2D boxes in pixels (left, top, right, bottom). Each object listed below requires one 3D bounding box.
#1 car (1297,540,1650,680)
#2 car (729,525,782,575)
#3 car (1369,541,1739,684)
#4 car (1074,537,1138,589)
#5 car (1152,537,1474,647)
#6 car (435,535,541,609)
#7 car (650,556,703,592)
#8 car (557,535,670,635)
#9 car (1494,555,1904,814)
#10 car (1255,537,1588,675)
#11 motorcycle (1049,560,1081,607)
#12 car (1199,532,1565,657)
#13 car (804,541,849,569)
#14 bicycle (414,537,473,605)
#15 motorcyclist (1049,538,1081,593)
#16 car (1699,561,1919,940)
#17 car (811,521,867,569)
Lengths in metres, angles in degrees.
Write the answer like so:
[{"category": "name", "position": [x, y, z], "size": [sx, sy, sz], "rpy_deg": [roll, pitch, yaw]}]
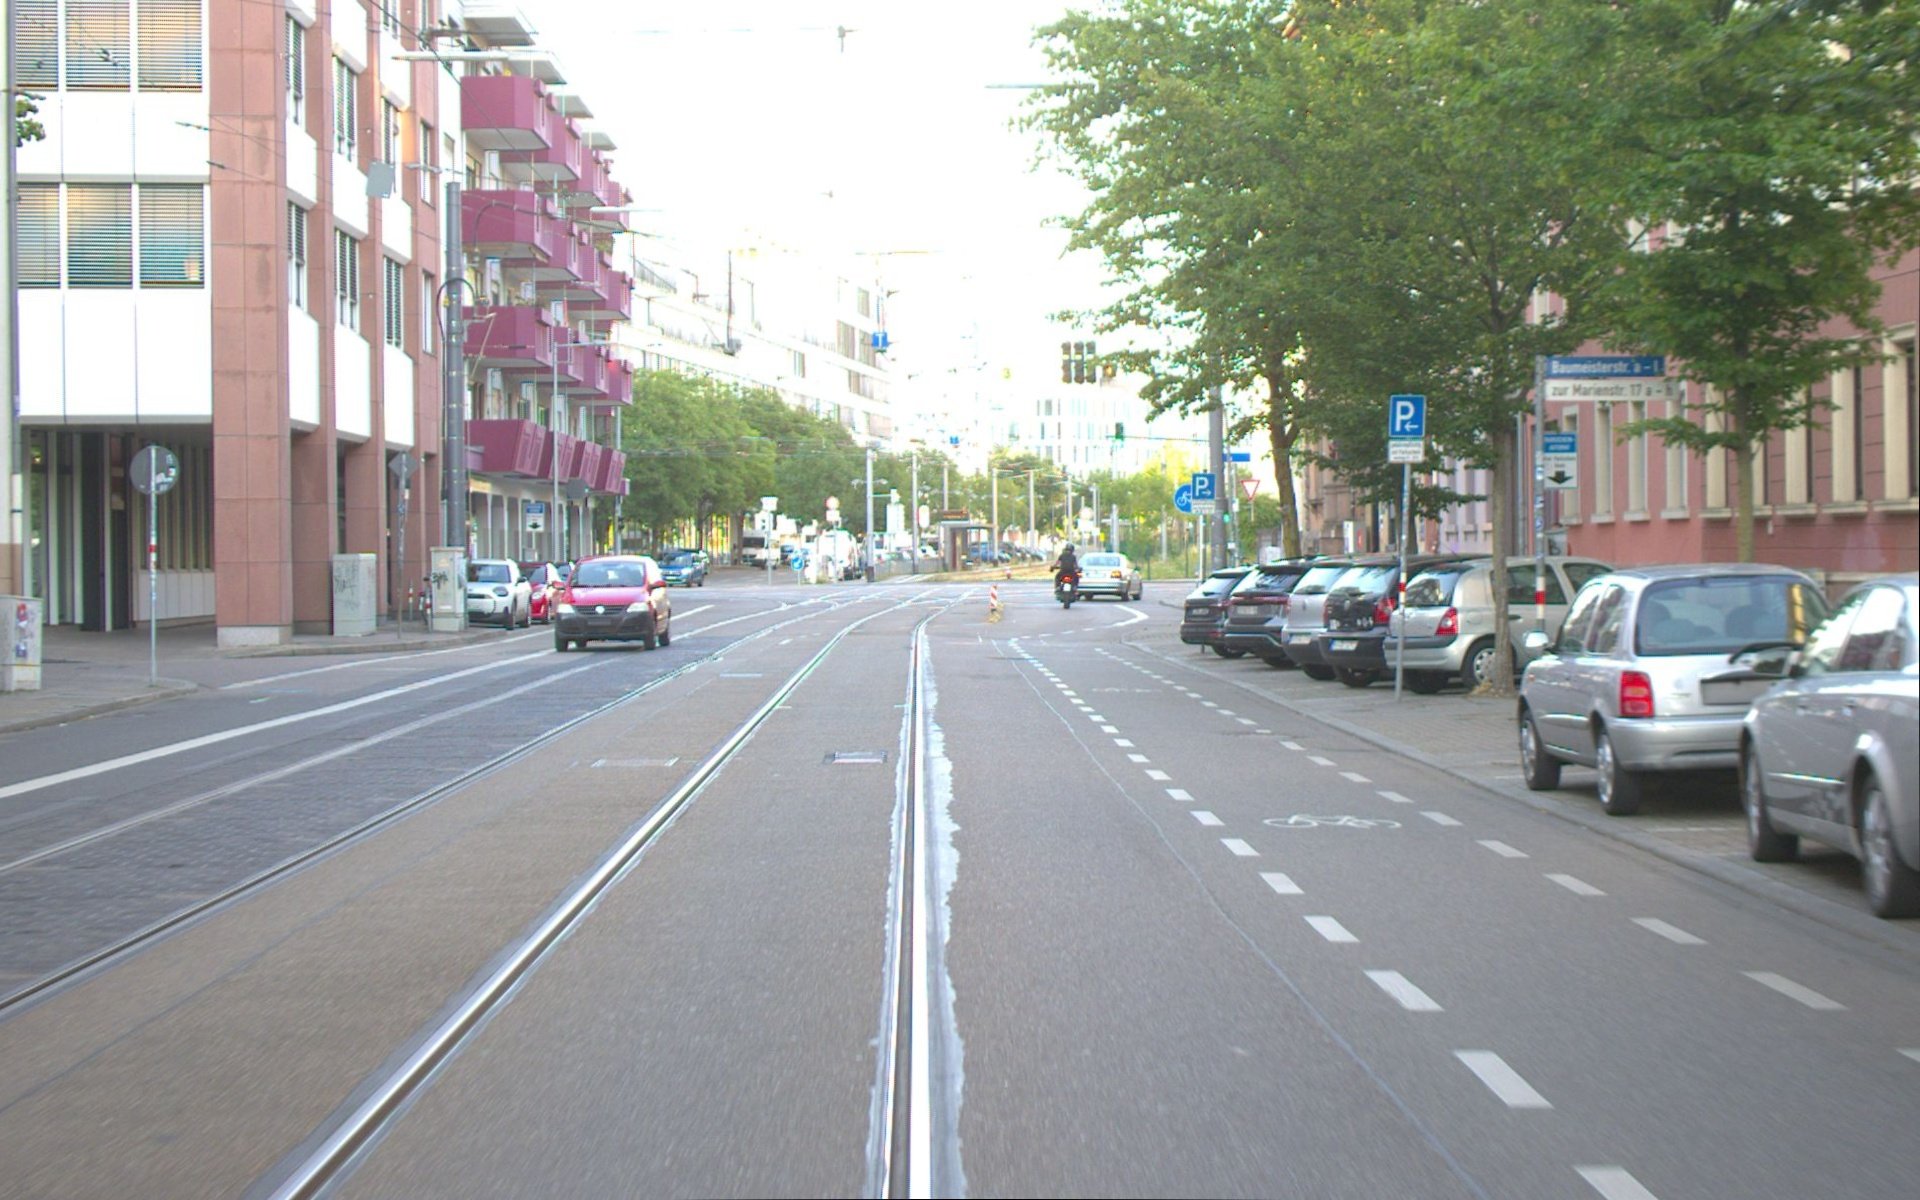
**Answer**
[{"category": "car", "position": [5.759, 0.091, 38.520], "size": [3.554, 1.424, 1.669], "rpy_deg": [-2, 1, -25]}, {"category": "car", "position": [-13.072, -3.205, 220.170], "size": [2.202, 3.141, 6.141], "rpy_deg": [0, 1, 7]}, {"category": "car", "position": [6.281, 0.129, 36.427], "size": [3.481, 1.424, 1.621], "rpy_deg": [-1, -1, -19]}, {"category": "car", "position": [4.476, -1.146, 105.740], "size": [1.717, 1.550, 4.204], "rpy_deg": [0, 1, -1]}, {"category": "car", "position": [5.397, -0.144, 52.470], "size": [4.604, 1.452, 1.711], "rpy_deg": [-3, 1, -25]}, {"category": "car", "position": [-10.287, -0.623, 75.118], "size": [1.717, 1.550, 4.204], "rpy_deg": [1, 1, 0]}, {"category": "car", "position": [-13.880, -1.293, 168.553], "size": [1.683, 1.694, 4.238], "rpy_deg": [0, 1, 8]}, {"category": "car", "position": [-5.710, -0.284, 56.977], "size": [1.559, 1.552, 3.755], "rpy_deg": [-2, 1, -2]}, {"category": "car", "position": [4.436, 0.449, 21.159], "size": [1.619, 1.376, 3.776], "rpy_deg": [-2, 1, -1]}, {"category": "car", "position": [5.546, 0.051, 41.290], "size": [3.554, 1.511, 1.744], "rpy_deg": [-2, 1, -25]}, {"category": "motorcycle", "position": [2.836, -0.461, 92.725], "size": [0.828, 1.236, 2.491], "rpy_deg": [0, 1, 3]}, {"category": "car", "position": [5.690, -0.096, 46.394], "size": [4.443, 1.511, 2.064], "rpy_deg": [-2, 1, -23]}, {"category": "car", "position": [-6.887, -2.350, 177.971], "size": [1.683, 1.434, 4.125], "rpy_deg": [0, 1, 7]}, {"category": "bicycle", "position": [-10.596, -0.601, 70.615], "size": [0.609, 1.373, 2.258], "rpy_deg": [0, 1, 7]}, {"category": "motorcyclist", "position": [2.837, -0.948, 92.848], "size": [0.828, 1.468, 1.207], "rpy_deg": [0, 1, 3]}, {"category": "car", "position": [4.630, 0.536, 15.411], "size": [1.780, 1.376, 4.690], "rpy_deg": [-2, 1, 3]}, {"category": "car", "position": [-6.466, -2.955, 183.887], "size": [2.461, 2.474, 5.808], "rpy_deg": [0, 1, 3]}]
